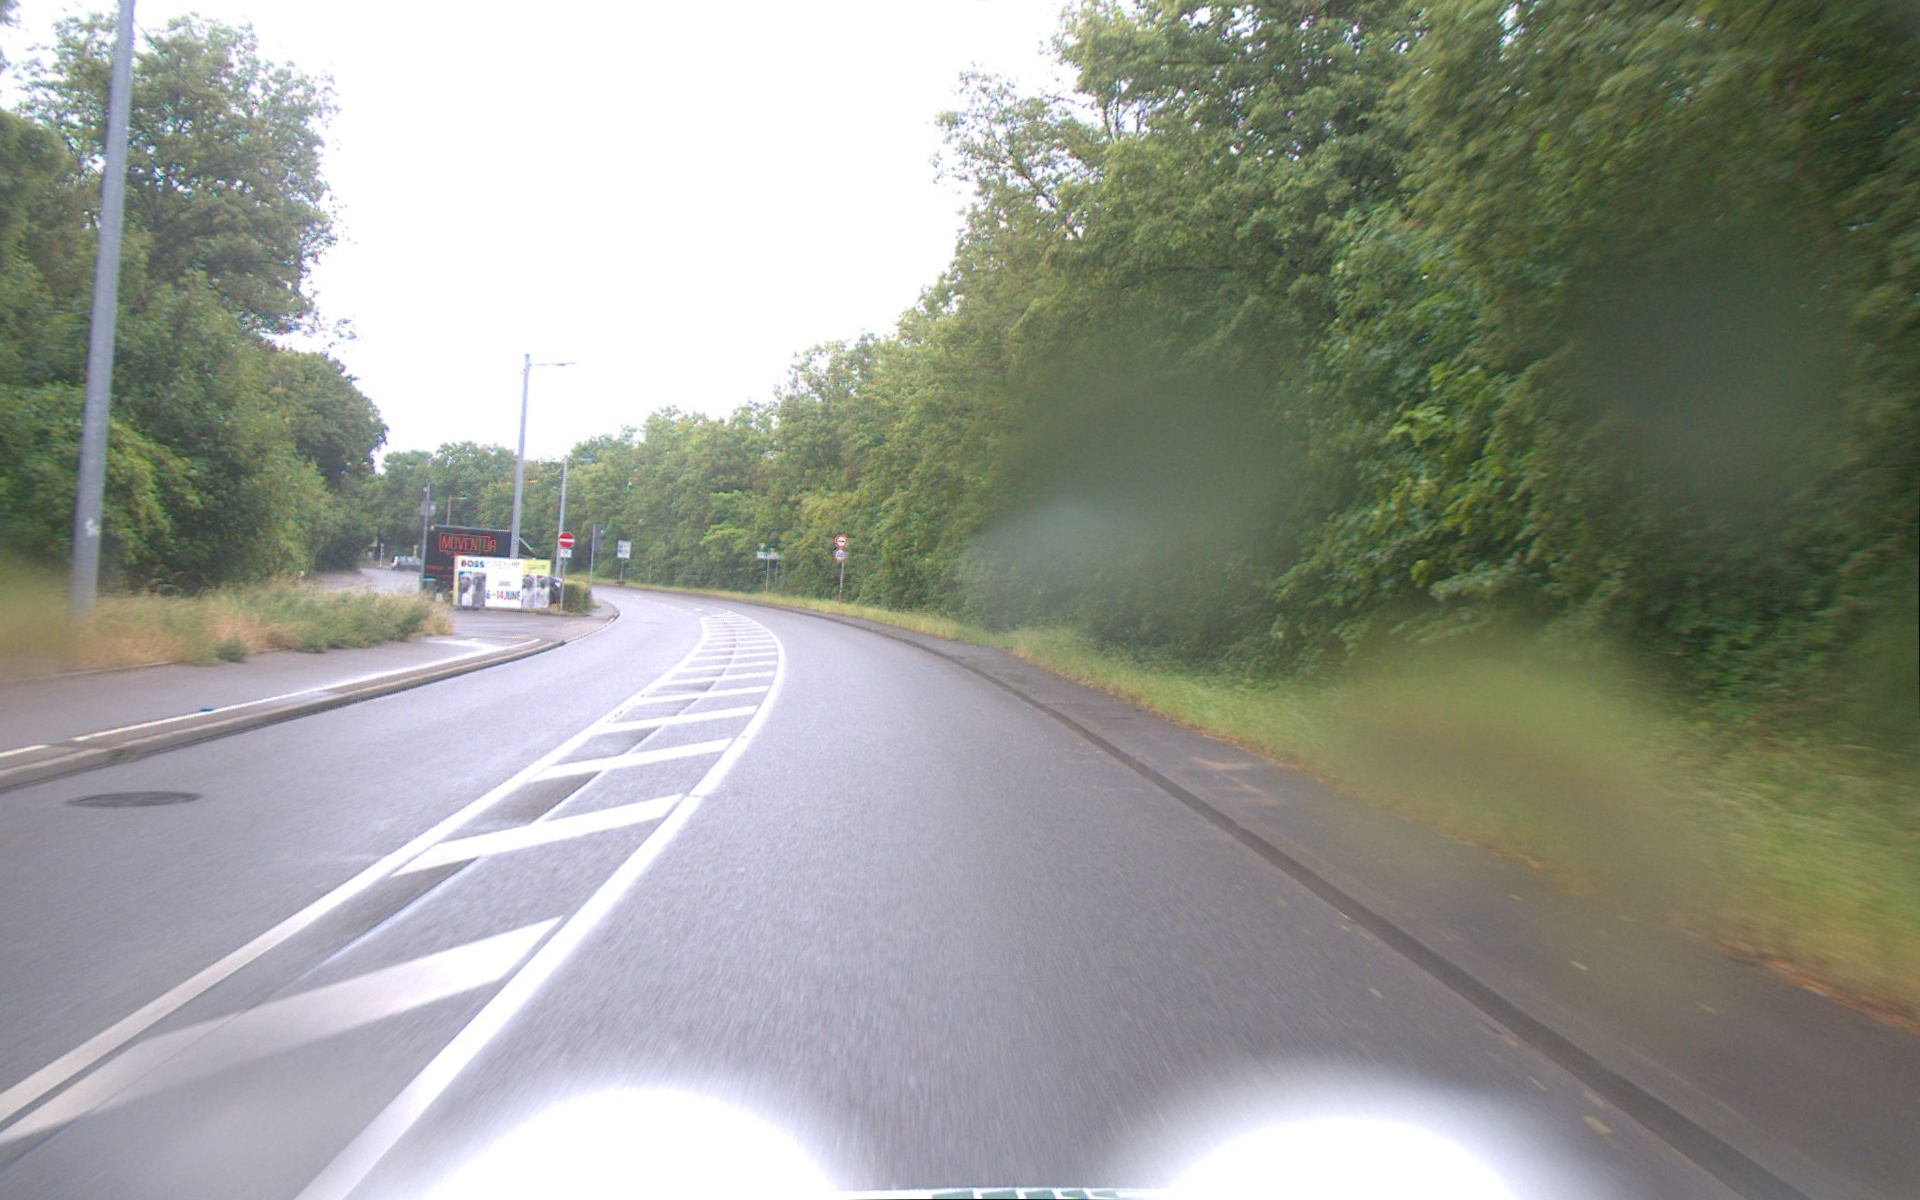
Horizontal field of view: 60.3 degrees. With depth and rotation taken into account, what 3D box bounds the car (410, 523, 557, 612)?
[{"bbox_3d":[-20.248,-1.345,70.443,5.852,3.563,1.991,1,0,-17],"label":"car"}]
